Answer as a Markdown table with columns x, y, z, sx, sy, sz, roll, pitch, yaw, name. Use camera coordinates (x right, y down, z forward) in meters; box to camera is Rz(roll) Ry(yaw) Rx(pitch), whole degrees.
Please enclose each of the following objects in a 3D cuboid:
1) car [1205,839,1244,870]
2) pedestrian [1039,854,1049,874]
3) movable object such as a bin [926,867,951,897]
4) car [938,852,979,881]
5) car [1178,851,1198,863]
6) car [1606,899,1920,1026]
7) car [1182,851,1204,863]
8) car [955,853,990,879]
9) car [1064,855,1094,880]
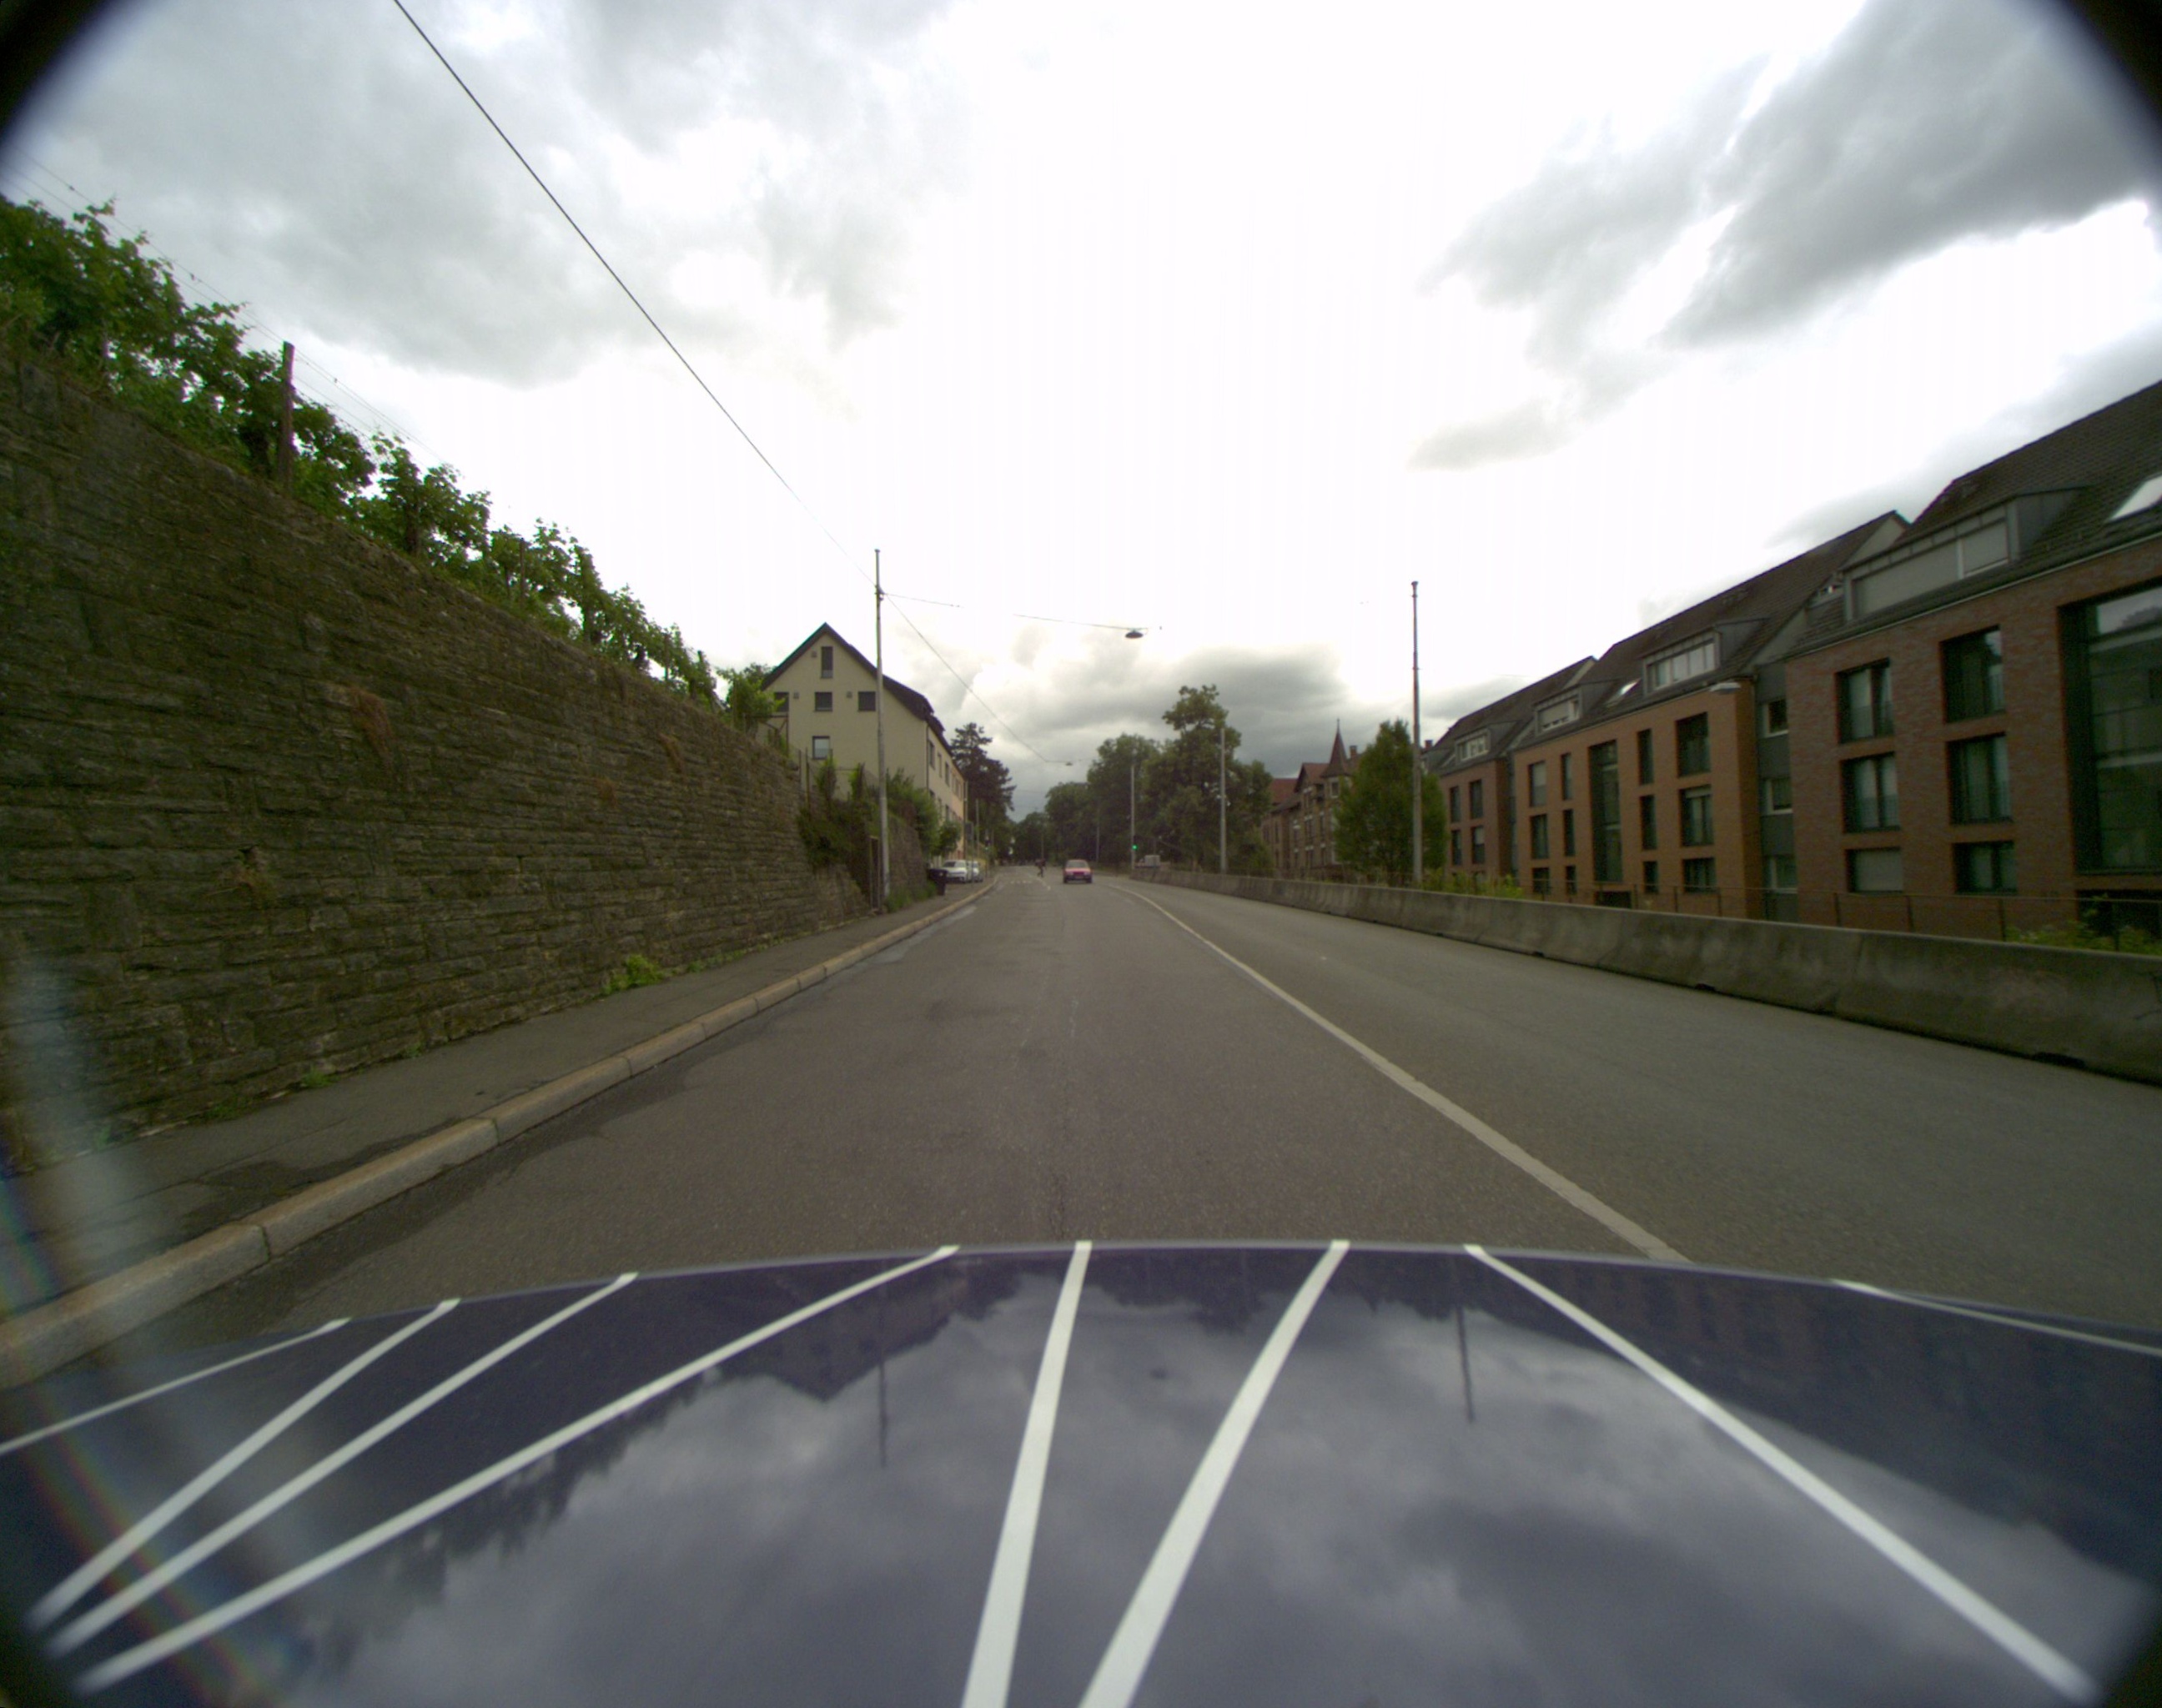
| x | y | z | sx | sy | sz | roll | pitch | yaw | name |
| --- | --- | --- | --- | --- | --- | --- | --- | --- | --- |
| 12.851 | -0.020 | 68.282 | 2.565 | 2.567 | 5.735 | -2 | 1 | 3 | car |
| -3.187 | 0.861 | 65.833 | 0.735 | 1.702 | 0.696 | -1 | 1 | 2 | pedestrian |
| -5.547 | 1.090 | 29.669 | 0.811 | 1.120 | 0.874 | -1 | 0 | -2 | movable object such as a bin |
| -7.397 | 0.743 | 46.063 | 1.799 | 1.566 | 4.055 | -2 | 1 | -1 | car |
| 13.870 | 0.348 | 98.549 | 1.999 | 1.543 | 4.000 | -1 | 0 | 0 | car |
| 10.912 | 1.634 | 12.611 | 1.538 | 1.505 | 4.000 | -2 | 0 | -1 | car |
| 12.924 | 0.333 | 87.748 | 1.999 | 1.346 | 4.000 | 0 | 0 | 0 | car |
| -7.286 | 0.776 | 51.288 | 1.732 | 1.566 | 4.248 | -2 | 1 | -1 | car |
| -0.137 | 0.844 | 47.130 | 1.646 | 1.429 | 3.999 | -1 | -1 | -3 | car |
